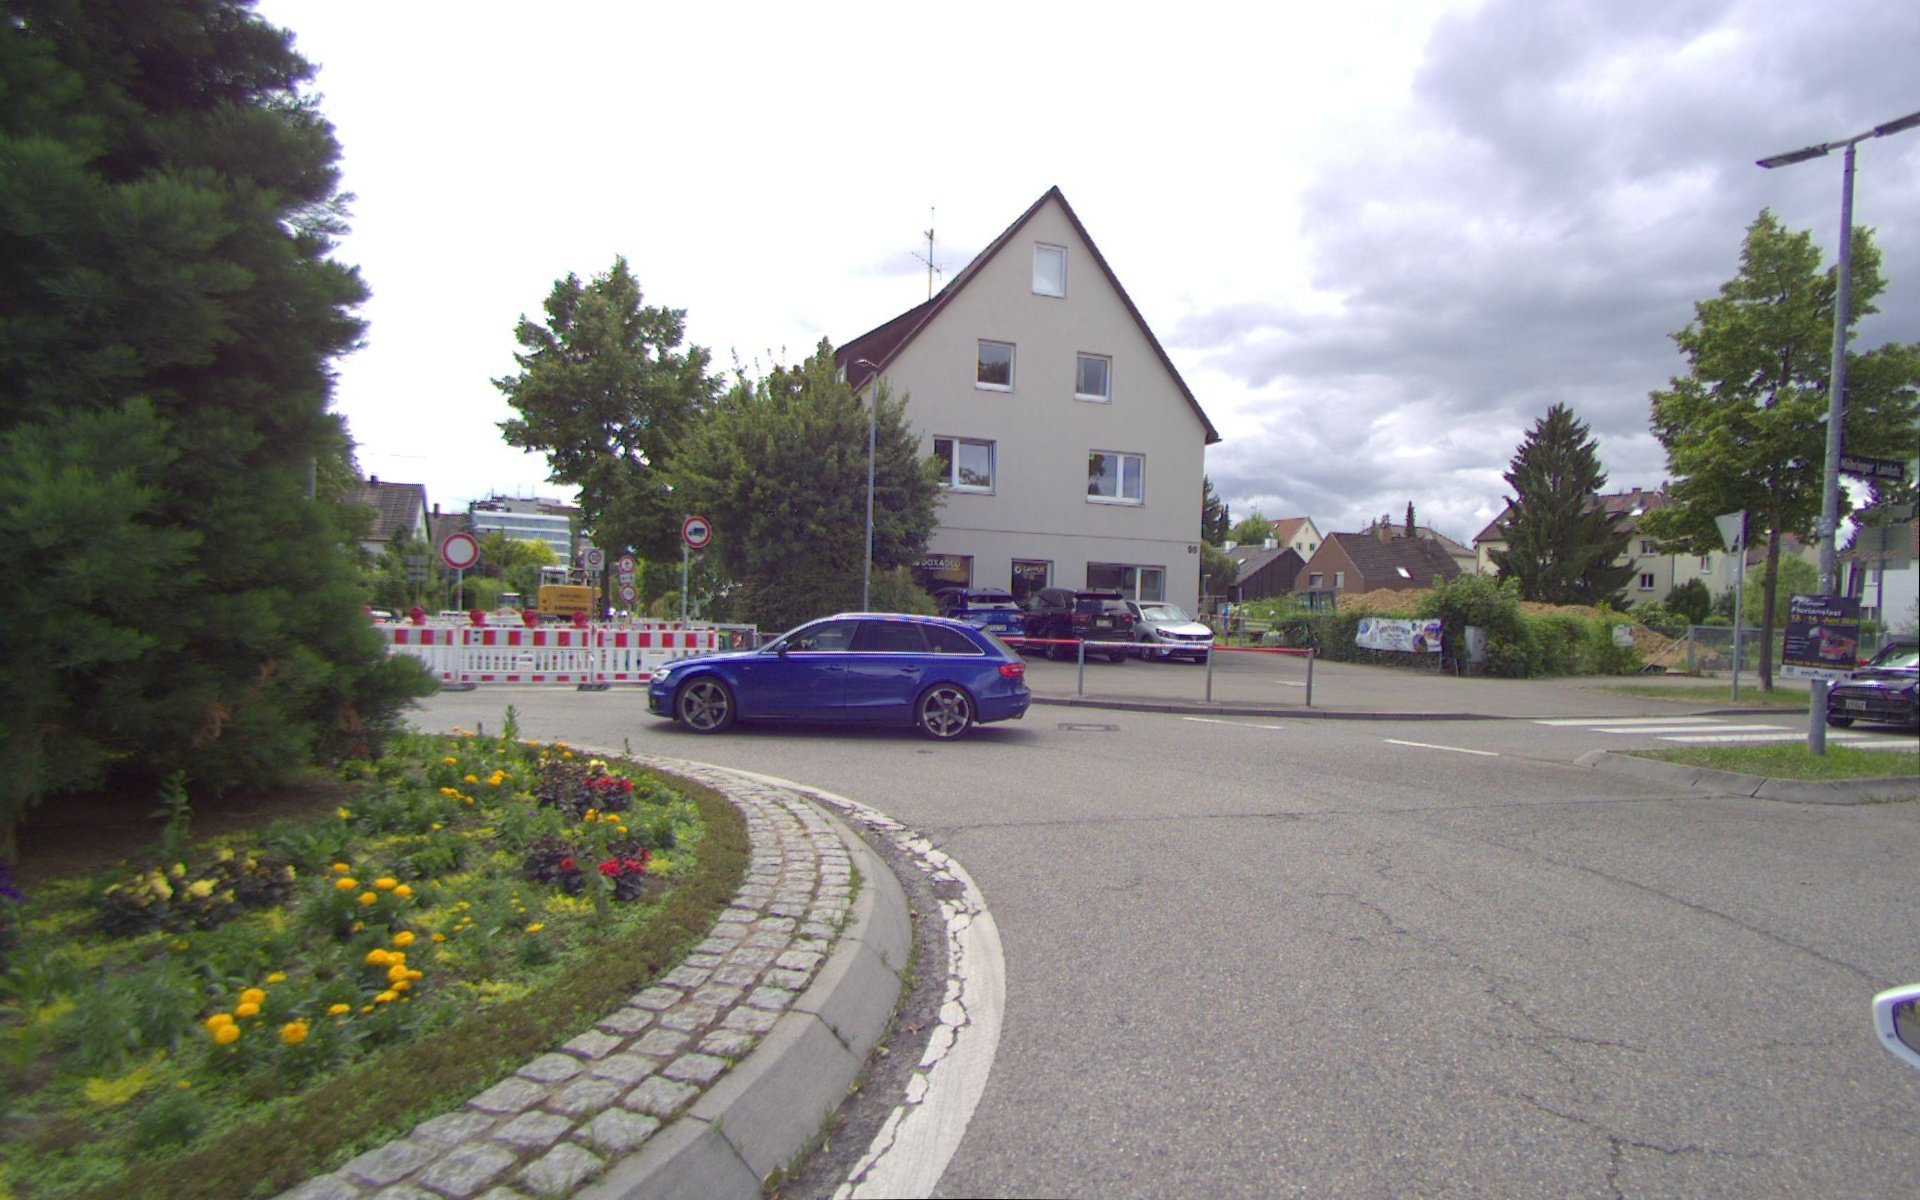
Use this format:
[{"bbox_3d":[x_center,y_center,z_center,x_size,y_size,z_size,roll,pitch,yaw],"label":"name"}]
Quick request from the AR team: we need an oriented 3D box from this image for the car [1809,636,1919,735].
[{"bbox_3d":[15.385,1.305,15.732,3.686,1.380,1.571,1,0,-20],"label":"car"}]

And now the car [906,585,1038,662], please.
[{"bbox_3d":[0.181,0.500,23.823,1.792,1.556,3.912,3,1,-21],"label":"car"}]

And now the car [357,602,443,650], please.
[{"bbox_3d":[-17.498,0.777,31.552,1.674,1.350,3.599,1,0,-18],"label":"car"}]

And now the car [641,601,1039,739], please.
[{"bbox_3d":[-1.335,0.803,12.070,4.417,1.390,1.615,2,-1,1],"label":"car"}]

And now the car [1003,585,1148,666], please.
[{"bbox_3d":[2.679,0.552,24.204,1.828,1.684,3.912,3,1,-21],"label":"car"}]

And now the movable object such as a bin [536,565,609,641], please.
[{"bbox_3d":[-16.006,0.116,41.628,2.639,2.954,3.682,1,0,-20],"label":"movable object such as a bin"}]

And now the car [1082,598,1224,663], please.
[{"bbox_3d":[4.797,0.727,25.503,1.721,1.421,3.912,1,1,-21],"label":"car"}]

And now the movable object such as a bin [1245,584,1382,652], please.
[{"bbox_3d":[12.197,0.642,34.664,4.301,2.217,1.891,2,0,-24],"label":"movable object such as a bin"}]
